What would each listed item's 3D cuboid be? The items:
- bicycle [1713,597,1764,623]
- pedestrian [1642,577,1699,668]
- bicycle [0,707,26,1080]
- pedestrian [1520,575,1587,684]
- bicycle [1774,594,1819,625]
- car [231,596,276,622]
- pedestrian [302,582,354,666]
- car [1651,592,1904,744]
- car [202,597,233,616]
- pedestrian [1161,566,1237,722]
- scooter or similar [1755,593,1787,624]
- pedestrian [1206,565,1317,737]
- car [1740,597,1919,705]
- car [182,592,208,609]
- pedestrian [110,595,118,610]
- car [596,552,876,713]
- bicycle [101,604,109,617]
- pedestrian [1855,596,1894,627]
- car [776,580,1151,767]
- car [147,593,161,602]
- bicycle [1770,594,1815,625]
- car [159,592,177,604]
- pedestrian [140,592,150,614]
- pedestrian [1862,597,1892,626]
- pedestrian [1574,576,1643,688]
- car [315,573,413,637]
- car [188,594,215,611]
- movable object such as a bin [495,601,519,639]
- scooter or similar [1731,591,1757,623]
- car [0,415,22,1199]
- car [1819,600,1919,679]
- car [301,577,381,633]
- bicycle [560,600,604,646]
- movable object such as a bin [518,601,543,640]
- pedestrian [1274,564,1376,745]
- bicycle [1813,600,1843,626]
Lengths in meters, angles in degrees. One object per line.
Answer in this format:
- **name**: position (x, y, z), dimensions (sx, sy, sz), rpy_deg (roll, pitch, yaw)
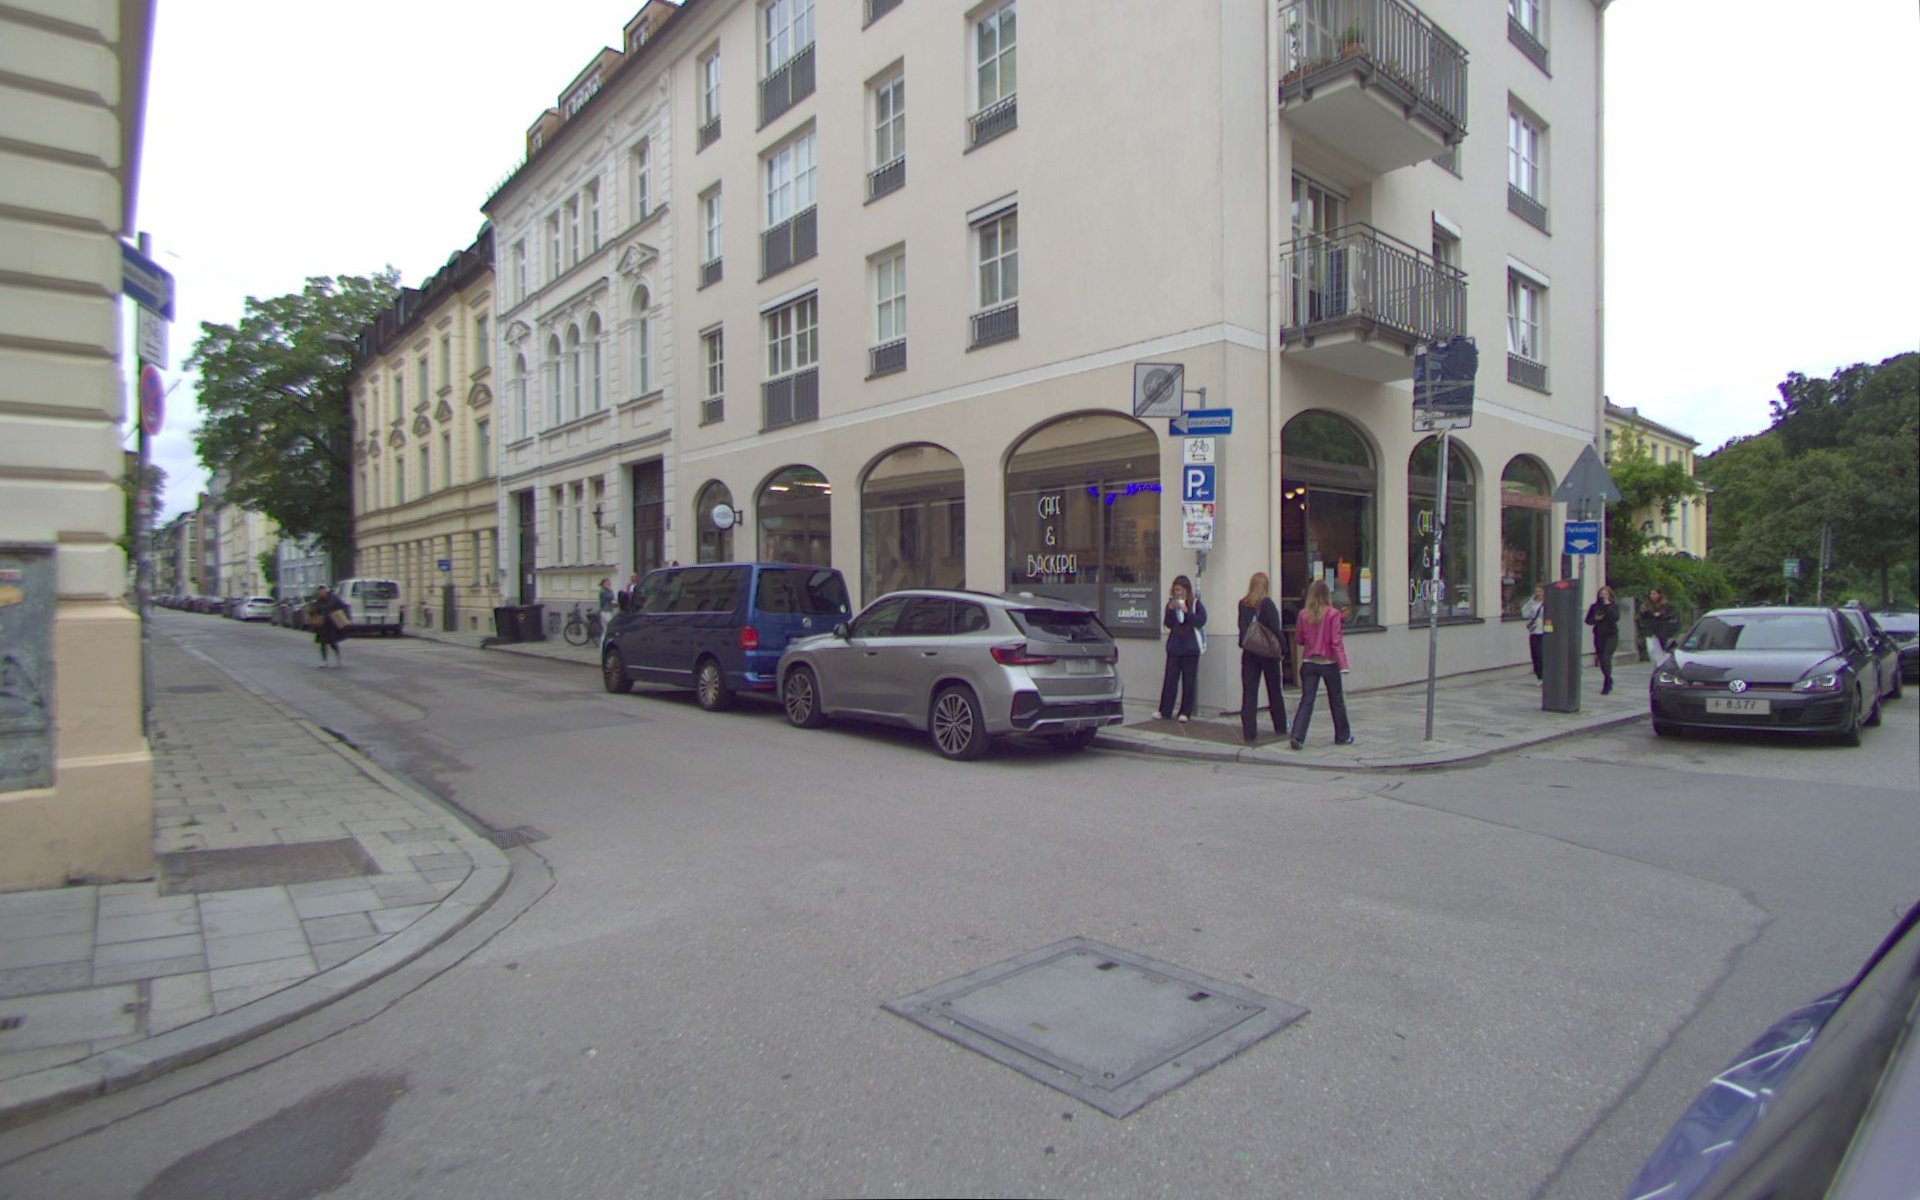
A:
- **bicycle**: position (32.475, 0.419, 42.231), dimensions (1.638, 1.006, 0.246), rpy_deg (3, 0, 26)
- **pedestrian**: position (13.398, 0.397, 19.083), dimensions (0.866, 1.642, 0.706), rpy_deg (-2, 2, -42)
- **bicycle**: position (-3.604, 0.870, 2.611), dimensions (1.698, 1.066, 0.466), rpy_deg (2, 0, -40)
- **pedestrian**: position (9.579, 0.452, 16.336), dimensions (0.866, 1.682, 0.706), rpy_deg (-2, 2, -42)
- **bicycle**: position (34.387, 0.391, 41.611), dimensions (1.623, 1.213, 0.169), rpy_deg (2, 0, 1)
- **car**: position (-40.947, 0.510, 58.659), dimensions (1.639, 1.434, 3.783), rpy_deg (3, -2, -42)
- **pedestrian**: position (-12.941, 0.474, 20.757), dimensions (0.801, 1.648, 0.873), rpy_deg (-2, 1, -28)
- **car**: position (9.512, 0.673, 11.653), dimensions (4.133, 1.443, 1.676), rpy_deg (0, -2, -43)
- **car**: position (-57.991, 0.493, 79.017), dimensions (1.639, 1.434, 3.784), rpy_deg (3, -2, -41)
- **pedestrian**: position (2.655, 0.463, 11.244), dimensions (0.633, 1.667, 0.519), rpy_deg (0, 1, 41)
- **scooter or similar**: position (32.694, 0.323, 40.808), dimensions (0.317, 1.228, 1.118), rpy_deg (1, 0, -4)
- **pedestrian**: position (3.069, 0.475, 10.290), dimensions (0.963, 1.640, 0.659), rpy_deg (-2, 2, -42)
- **car**: position (13.586, 0.707, 15.644), dimensions (4.432, 1.443, 1.647), rpy_deg (0, -2, -43)
- **car**: position (-71.575, 0.058, 94.625), dimensions (1.639, 1.434, 3.784), rpy_deg (3, -2, -41)
- **pedestrian**: position (-80.273, 0.217, 96.059), dimensions (0.538, 1.451, 0.470), rpy_deg (-2, 1, -41)
- **car**: position (-3.353, 0.408, 14.527), dimensions (1.940, 1.941, 4.446), rpy_deg (3, -2, -42)
- **bicycle**: position (-66.683, 0.792, 78.892), dimensions (0.384, 0.975, 1.541), rpy_deg (1, -2, -38)
- **pedestrian**: position (39.722, 0.495, 43.983), dimensions (1.172, 1.310, 0.630), rpy_deg (-1, -4, 39)
- **car**: position (-0.134, 0.630, 10.888), dimensions (1.724, 1.626, 4.094), rpy_deg (2, -1, -42)
- **car**: position (-131.715, -0.403, 165.314), dimensions (1.639, 1.434, 3.784), rpy_deg (3, -2, -41)
- **bicycle**: position (34.393, 0.396, 41.809), dimensions (1.623, 1.206, 0.202), rpy_deg (2, 0, 1)
- **car**: position (-103.921, -0.226, 132.722), dimensions (1.639, 1.434, 3.784), rpy_deg (3, -2, -41)
- **pedestrian**: position (-67.685, 0.242, 84.090), dimensions (0.582, 1.732, 0.584), rpy_deg (-2, 1, -41)
- **pedestrian**: position (40.215, 0.503, 44.392), dimensions (0.883, 1.251, 0.542), rpy_deg (-1, -4, 39)
- **pedestrian**: position (10.105, 0.471, 15.774), dimensions (0.866, 1.682, 0.706), rpy_deg (-2, 2, -42)
- **car**: position (-20.567, 0.170, 34.842), dimensions (2.041, 2.011, 4.337), rpy_deg (3, -2, -42)
- **car**: position (-67.606, 0.200, 90.182), dimensions (1.639, 1.434, 3.784), rpy_deg (3, -2, -41)
- **movable object such as a bin**: position (-12.871, 0.573, 28.724), dimensions (0.557, 1.035, 0.573), rpy_deg (-2, 1, -28)
- **scooter or similar**: position (32.048, 0.286, 41.365), dimensions (1.363, 1.264, 0.397), rpy_deg (1, 0, -32)
- **car**: position (-3.790, 0.556, 0.198), dimensions (5.159, 1.888, 2.001), rpy_deg (-1, 0, -40)
- **car**: position (18.779, 0.711, 20.215), dimensions (4.575, 1.429, 1.805), rpy_deg (0, -1, -41)
- **car**: position (-24.038, 0.182, 39.235), dimensions (1.794, 2.011, 4.337), rpy_deg (3, -2, -42)
- **bicycle**: position (-9.653, 0.570, 25.839), dimensions (0.597, 1.085, 1.469), rpy_deg (-2, 2, -40)
- **movable object such as a bin**: position (-12.141, 0.572, 28.604), dimensions (0.557, 1.035, 0.573), rpy_deg (-2, 1, -28)
- **pedestrian**: position (3.536, 0.484, 9.766), dimensions (1.051, 1.645, 0.472), rpy_deg (-2, 2, -42)
- **bicycle**: position (36.326, 0.541, 42.338), dimensions (1.620, 1.051, 0.308), rpy_deg (2, 0, -26)
